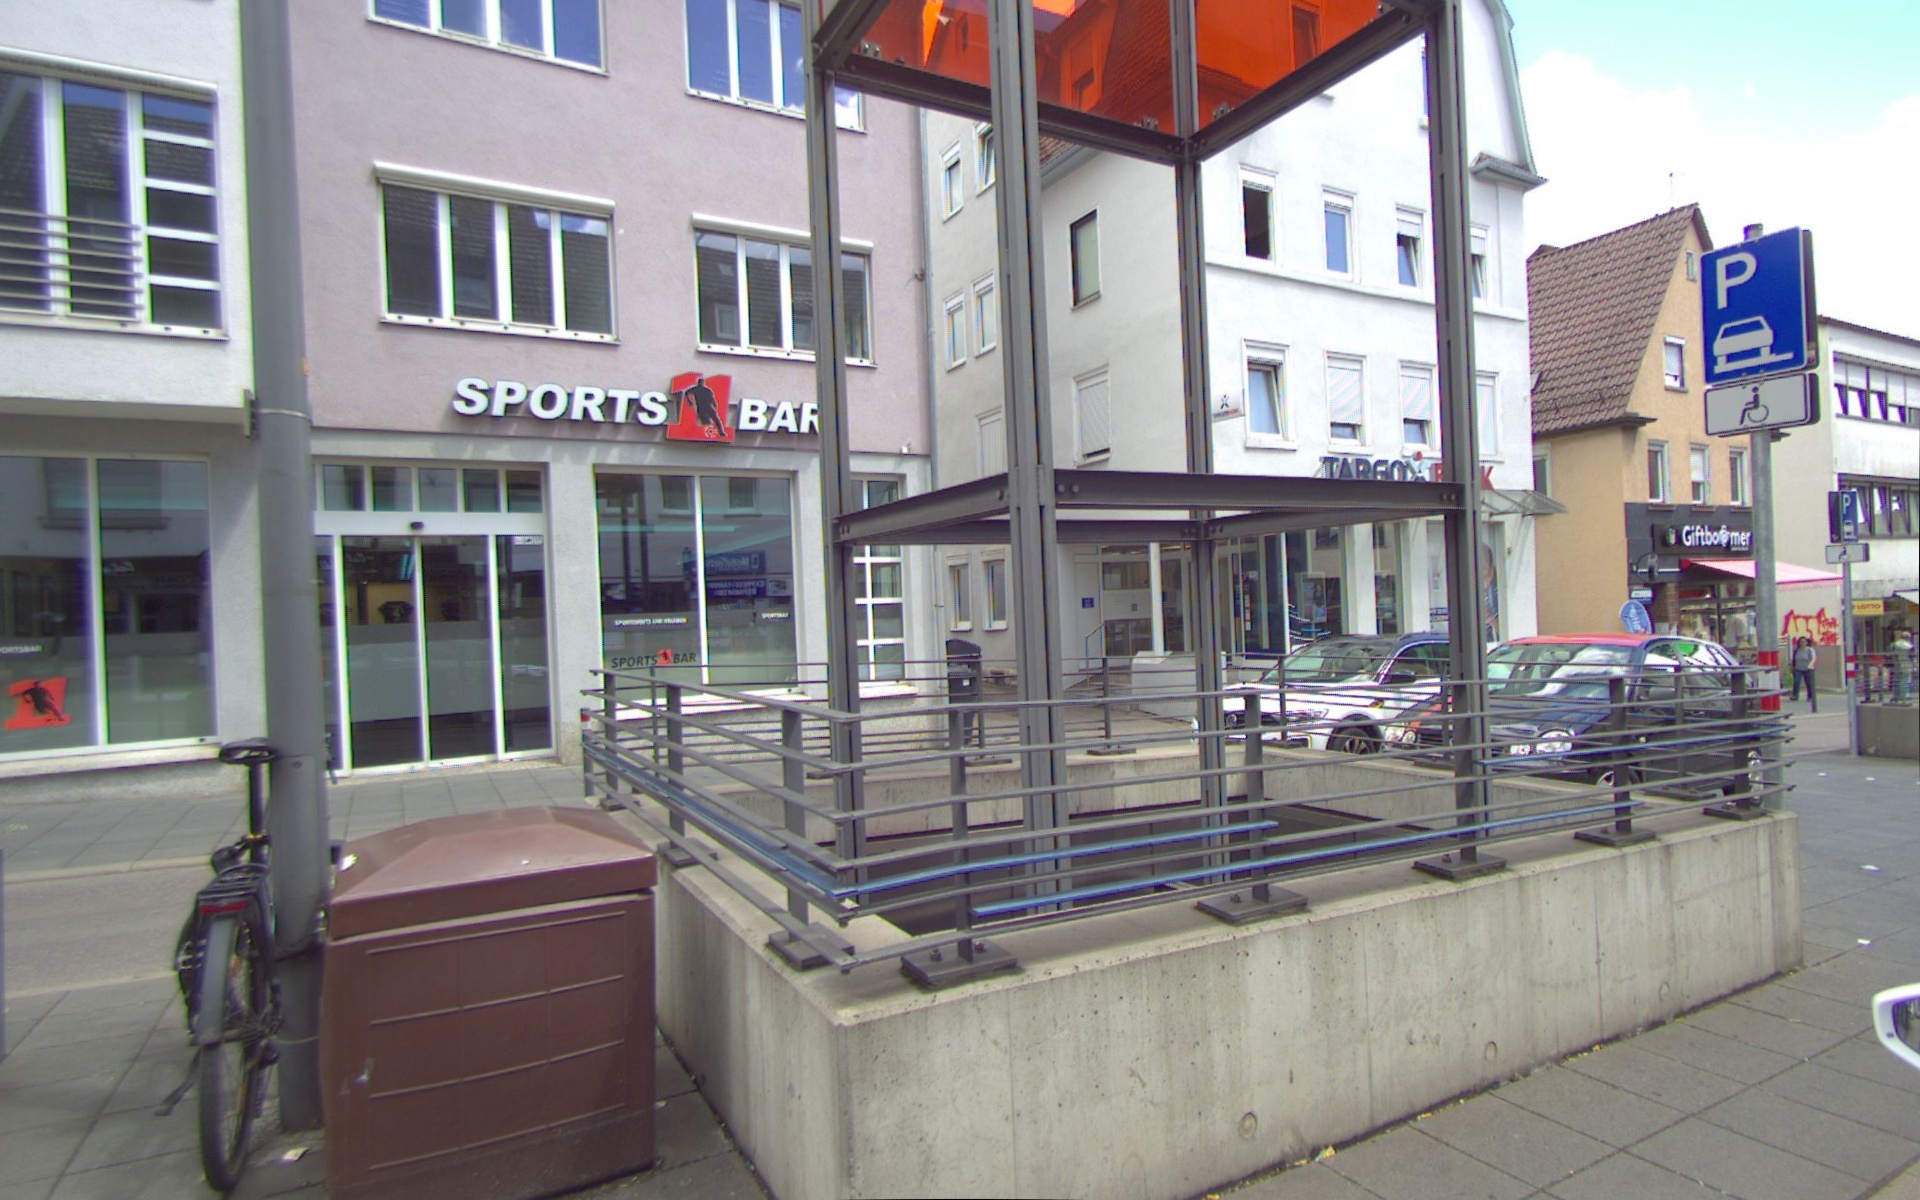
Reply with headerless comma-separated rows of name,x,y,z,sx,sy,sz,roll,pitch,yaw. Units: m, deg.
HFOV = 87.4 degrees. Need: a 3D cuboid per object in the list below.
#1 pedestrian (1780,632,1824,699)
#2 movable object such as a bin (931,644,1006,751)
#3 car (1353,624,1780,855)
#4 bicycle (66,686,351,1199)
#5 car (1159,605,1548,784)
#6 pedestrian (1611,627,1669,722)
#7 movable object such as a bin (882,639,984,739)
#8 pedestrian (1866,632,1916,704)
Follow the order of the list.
pedestrian,20.554,1.597,24.526,0.708,1.594,0.562,1,-3,-31
movable object such as a bin,0.110,1.321,13.893,0.798,1.394,0.686,1,-1,-31
car,5.088,0.971,8.282,3.815,1.495,1.559,2,-2,-34
bicycle,-2.088,0.916,2.955,0.454,1.239,1.769,1,-2,-30
car,4.265,0.985,10.762,4.075,1.590,1.672,2,-7,-31
pedestrian,12.703,1.372,18.769,0.818,1.711,0.636,1,-1,-32
movable object such as a bin,-0.416,1.293,15.059,1.055,1.394,1.277,1,-1,-30
pedestrian,22.994,1.665,24.806,0.653,1.711,0.646,1,-1,9
